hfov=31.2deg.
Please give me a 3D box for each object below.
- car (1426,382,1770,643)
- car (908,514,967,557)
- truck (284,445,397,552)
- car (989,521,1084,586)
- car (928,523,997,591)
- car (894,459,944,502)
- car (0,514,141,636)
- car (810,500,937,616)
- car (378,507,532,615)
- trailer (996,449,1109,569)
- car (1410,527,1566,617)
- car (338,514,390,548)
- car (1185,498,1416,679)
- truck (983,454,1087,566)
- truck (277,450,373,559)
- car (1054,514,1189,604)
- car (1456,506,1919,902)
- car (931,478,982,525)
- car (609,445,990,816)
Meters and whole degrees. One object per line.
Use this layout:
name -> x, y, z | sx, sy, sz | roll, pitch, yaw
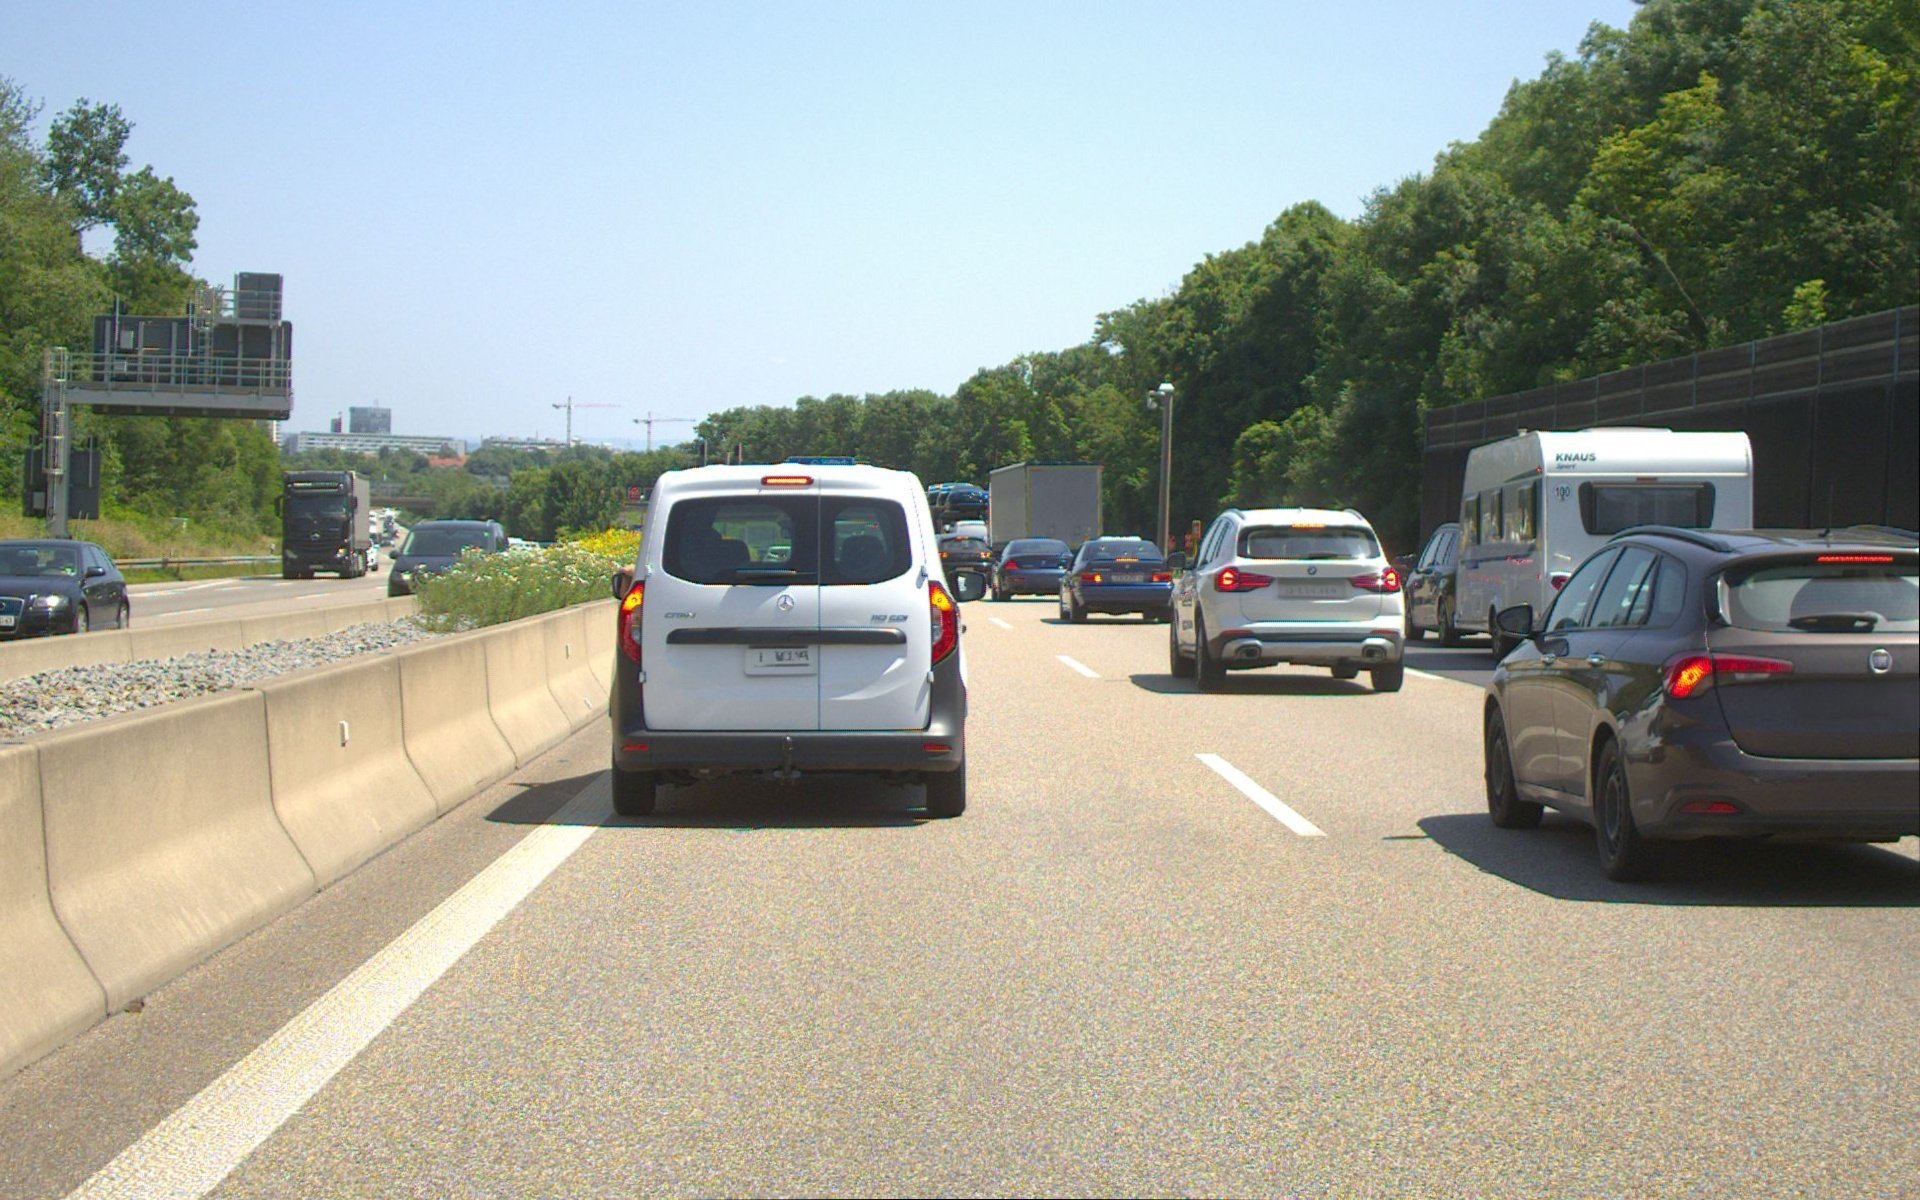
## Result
car -> 7.174, -0.985, 39.466 | 2.478, 2.756, 6.221 | 0, 1, -3
car -> -0.773, -2.189, 117.388 | 1.824, 1.442, 4.001 | 0, 1, -3
truck -> -23.879, -3.888, 133.233 | 2.828, 3.925, 13.748 | 0, 1, -4
car -> 1.675, -1.043, 76.450 | 1.824, 1.419, 4.001 | 0, 1, -3
car -> 0.048, -1.280, 101.337 | 1.824, 1.982, 4.001 | 0, 1, -3
car -> -1.991, -5.793, 166.982 | 1.993, 2.007, 4.001 | 0, 1, -7
car -> -11.478, -0.346, 42.335 | 1.813, 1.397, 4.272 | 0, 2, -1
car -> -1.475, -0.710, 57.252 | 1.993, 1.853, 4.001 | 0, 1, -3
car -> -8.442, -0.691, 57.805 | 1.993, 1.718, 4.357 | 0, 2, -1
trailer -> 3.118, -3.104, 118.987 | 3.081, 3.972, 10.325 | 0, 1, -3
car -> 8.645, -0.482, 56.602 | 1.824, 1.419, 4.001 | 0, 1, -2
car -> -30.188, -3.484, 174.284 | 1.993, 1.686, 4.768 | 0, 1, -2
car -> 3.160, -0.160, 32.592 | 1.871, 1.602, 3.879 | 1, 2, 1
truck -> 2.695, -3.279, 126.670 | 3.081, 3.972, 9.648 | 0, 1, -3
truck -> -23.455, -3.499, 127.131 | 2.828, 3.925, 6.008 | 0, 1, -4
car -> 2.607, -0.688, 56.374 | 1.824, 1.419, 4.001 | 0, 1, -3
car -> 3.547, 0.344, 15.403 | 1.838, 1.508, 4.402 | 0, 2, -2
car -> -0.170, -4.280, 150.194 | 1.993, 2.007, 4.001 | 0, 1, -3
car -> -0.764, 0.106, 18.745 | 1.802, 1.802, 4.000 | 0, 1, 1
